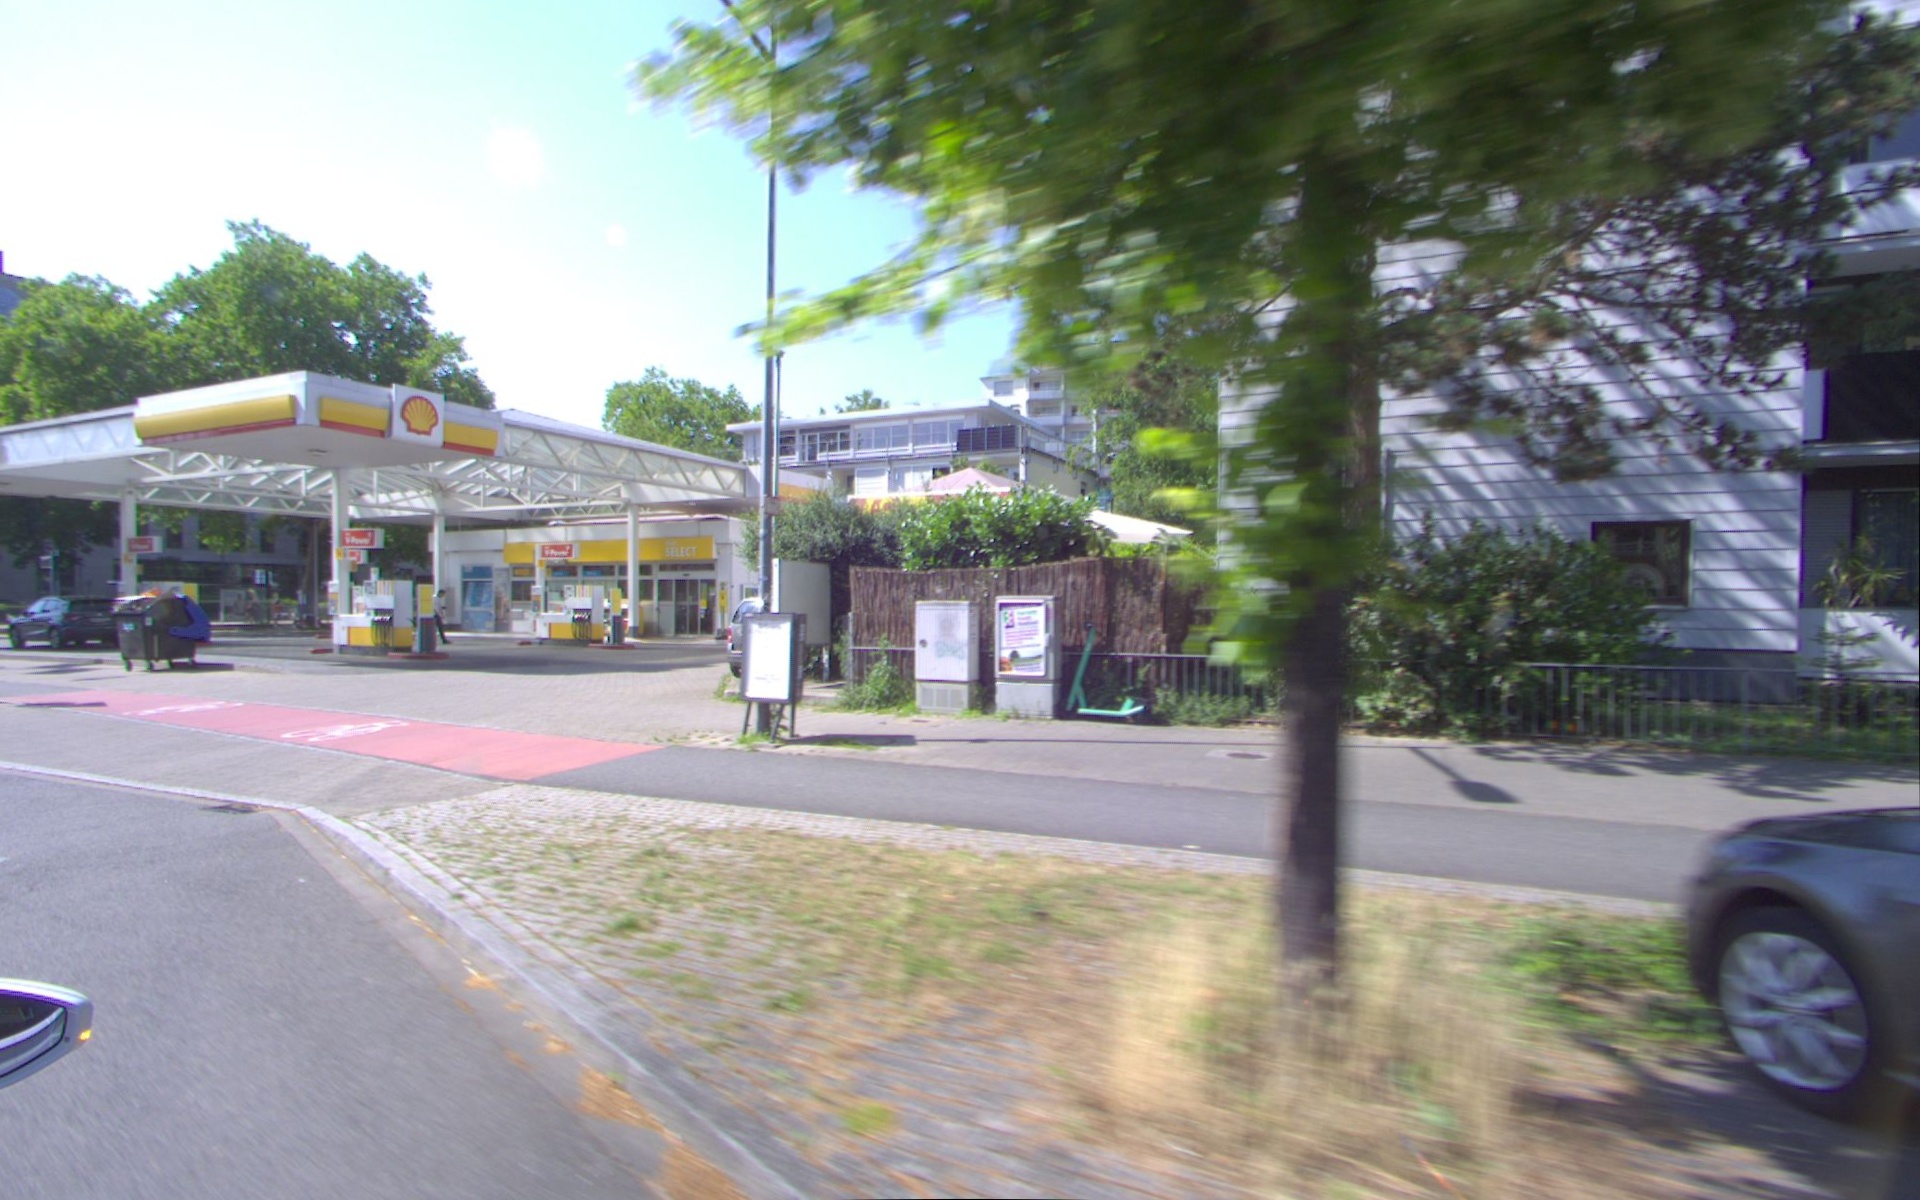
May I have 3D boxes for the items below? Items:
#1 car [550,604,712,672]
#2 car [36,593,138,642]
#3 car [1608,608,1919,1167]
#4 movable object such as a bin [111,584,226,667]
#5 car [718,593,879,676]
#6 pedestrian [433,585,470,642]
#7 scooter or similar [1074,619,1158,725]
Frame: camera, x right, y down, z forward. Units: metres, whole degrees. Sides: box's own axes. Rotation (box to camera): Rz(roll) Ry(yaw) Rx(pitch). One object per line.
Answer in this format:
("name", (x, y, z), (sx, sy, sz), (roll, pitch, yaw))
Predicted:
("car", (-8.452, 0.909, 26.067), (1.813, 1.603, 3.988), (1, 0, 24))
("car", (-26.477, 0.511, 30.350), (3.594, 1.416, 1.644), (0, 0, 37))
("car", (3.676, 0.800, 2.012), (1.961, 1.550, 4.117), (1, -1, -2))
("movable object such as a bin", (-16.189, 0.486, 20.500), (1.372, 1.614, 1.307), (0, 3, 24))
("car", (-3.390, 0.702, 21.731), (1.564, 1.617, 3.821), (1, 0, 25))
("pedestrian", (-16.908, 0.458, 33.299), (0.841, 1.862, 0.745), (1, 0, 5))
("scooter or similar", (1.807, 0.818, 11.645), (0.944, 1.181, 0.230), (1, 0, 34))
